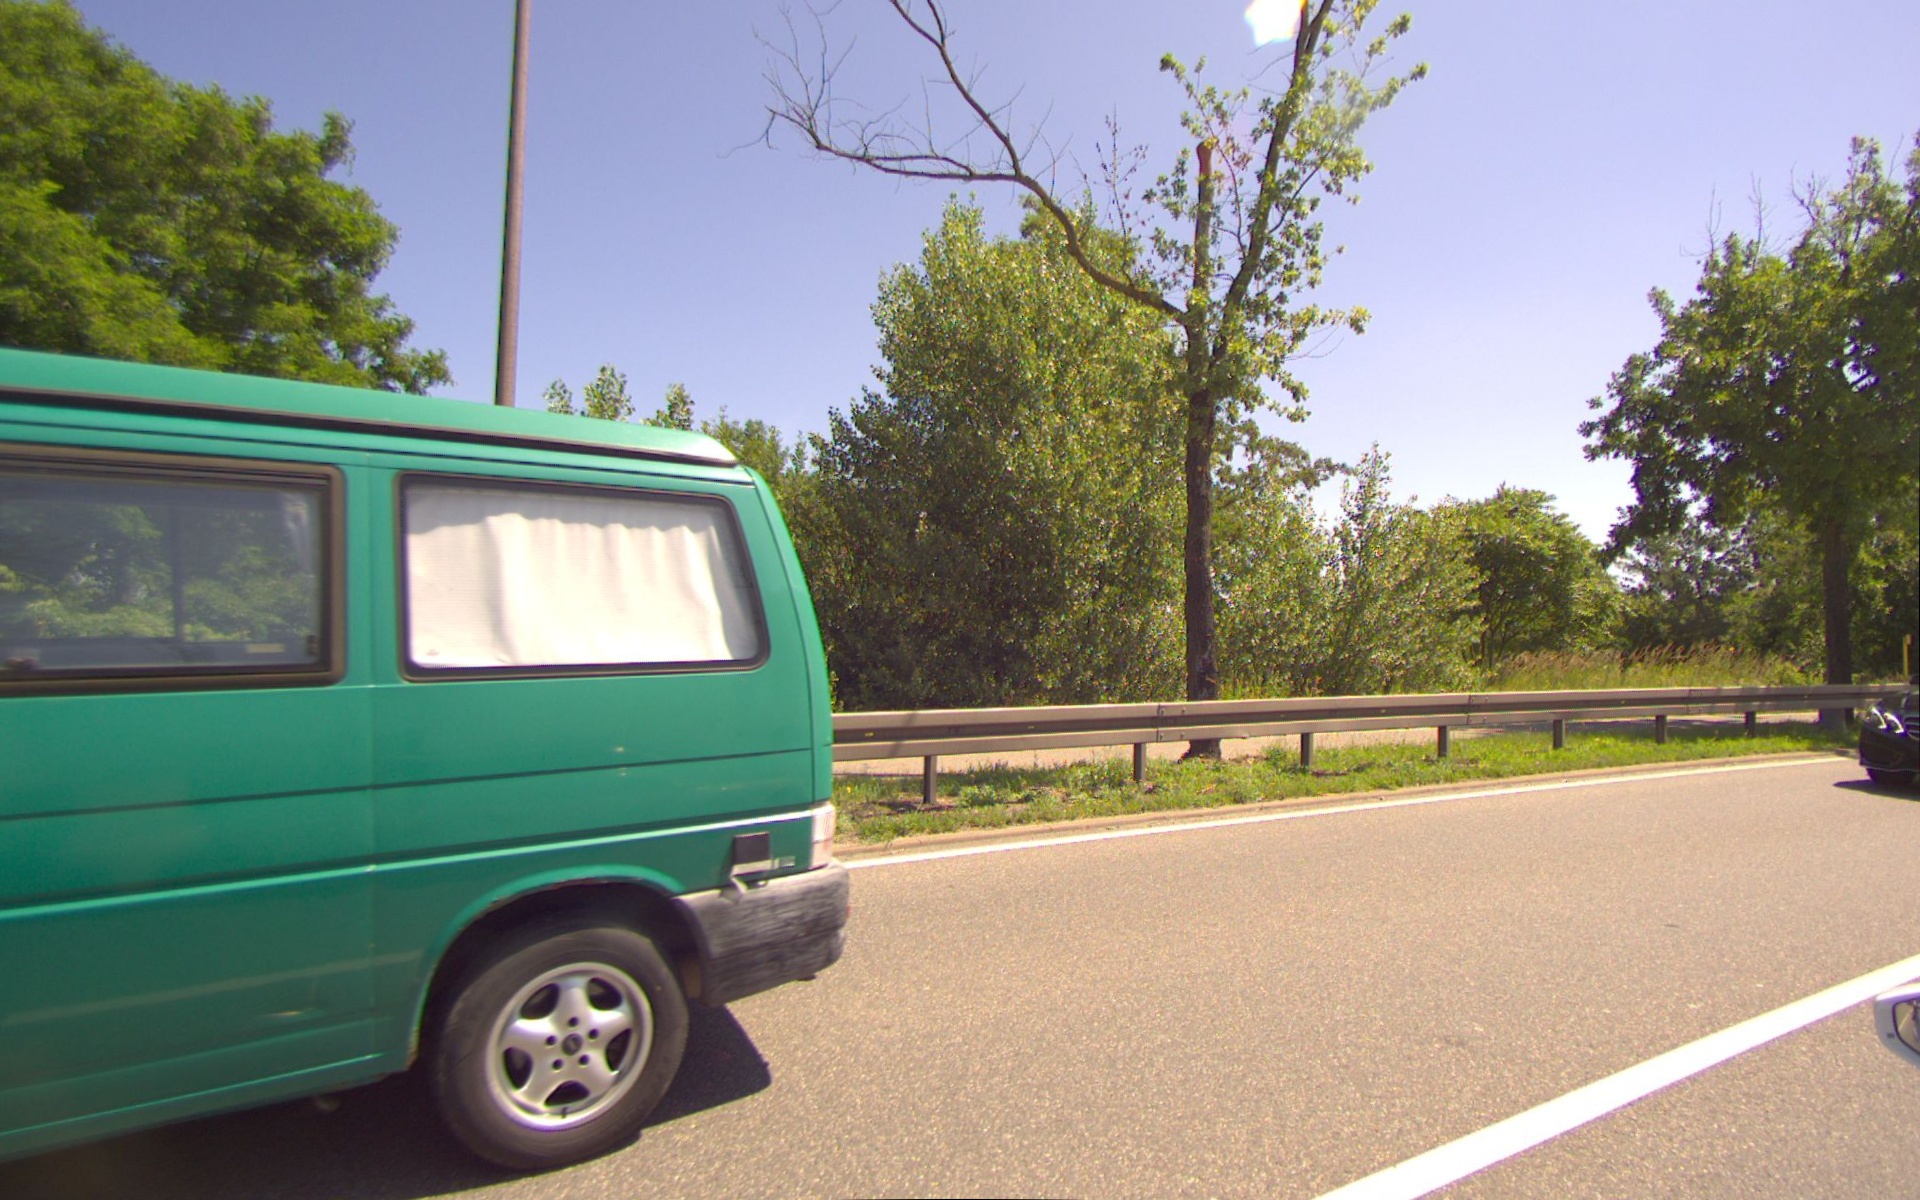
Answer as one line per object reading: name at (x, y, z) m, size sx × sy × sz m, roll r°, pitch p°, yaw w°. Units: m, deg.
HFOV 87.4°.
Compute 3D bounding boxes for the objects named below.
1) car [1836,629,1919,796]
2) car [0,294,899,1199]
car at (10.869, 1.085, 9.834) m, size 4.679 × 1.487 × 1.839 m, roll 2°, pitch -1°, yaw -27°
car at (-2.661, 0.384, 2.513) m, size 4.724 × 1.964 × 1.819 m, roll 2°, pitch -1°, yaw -33°
